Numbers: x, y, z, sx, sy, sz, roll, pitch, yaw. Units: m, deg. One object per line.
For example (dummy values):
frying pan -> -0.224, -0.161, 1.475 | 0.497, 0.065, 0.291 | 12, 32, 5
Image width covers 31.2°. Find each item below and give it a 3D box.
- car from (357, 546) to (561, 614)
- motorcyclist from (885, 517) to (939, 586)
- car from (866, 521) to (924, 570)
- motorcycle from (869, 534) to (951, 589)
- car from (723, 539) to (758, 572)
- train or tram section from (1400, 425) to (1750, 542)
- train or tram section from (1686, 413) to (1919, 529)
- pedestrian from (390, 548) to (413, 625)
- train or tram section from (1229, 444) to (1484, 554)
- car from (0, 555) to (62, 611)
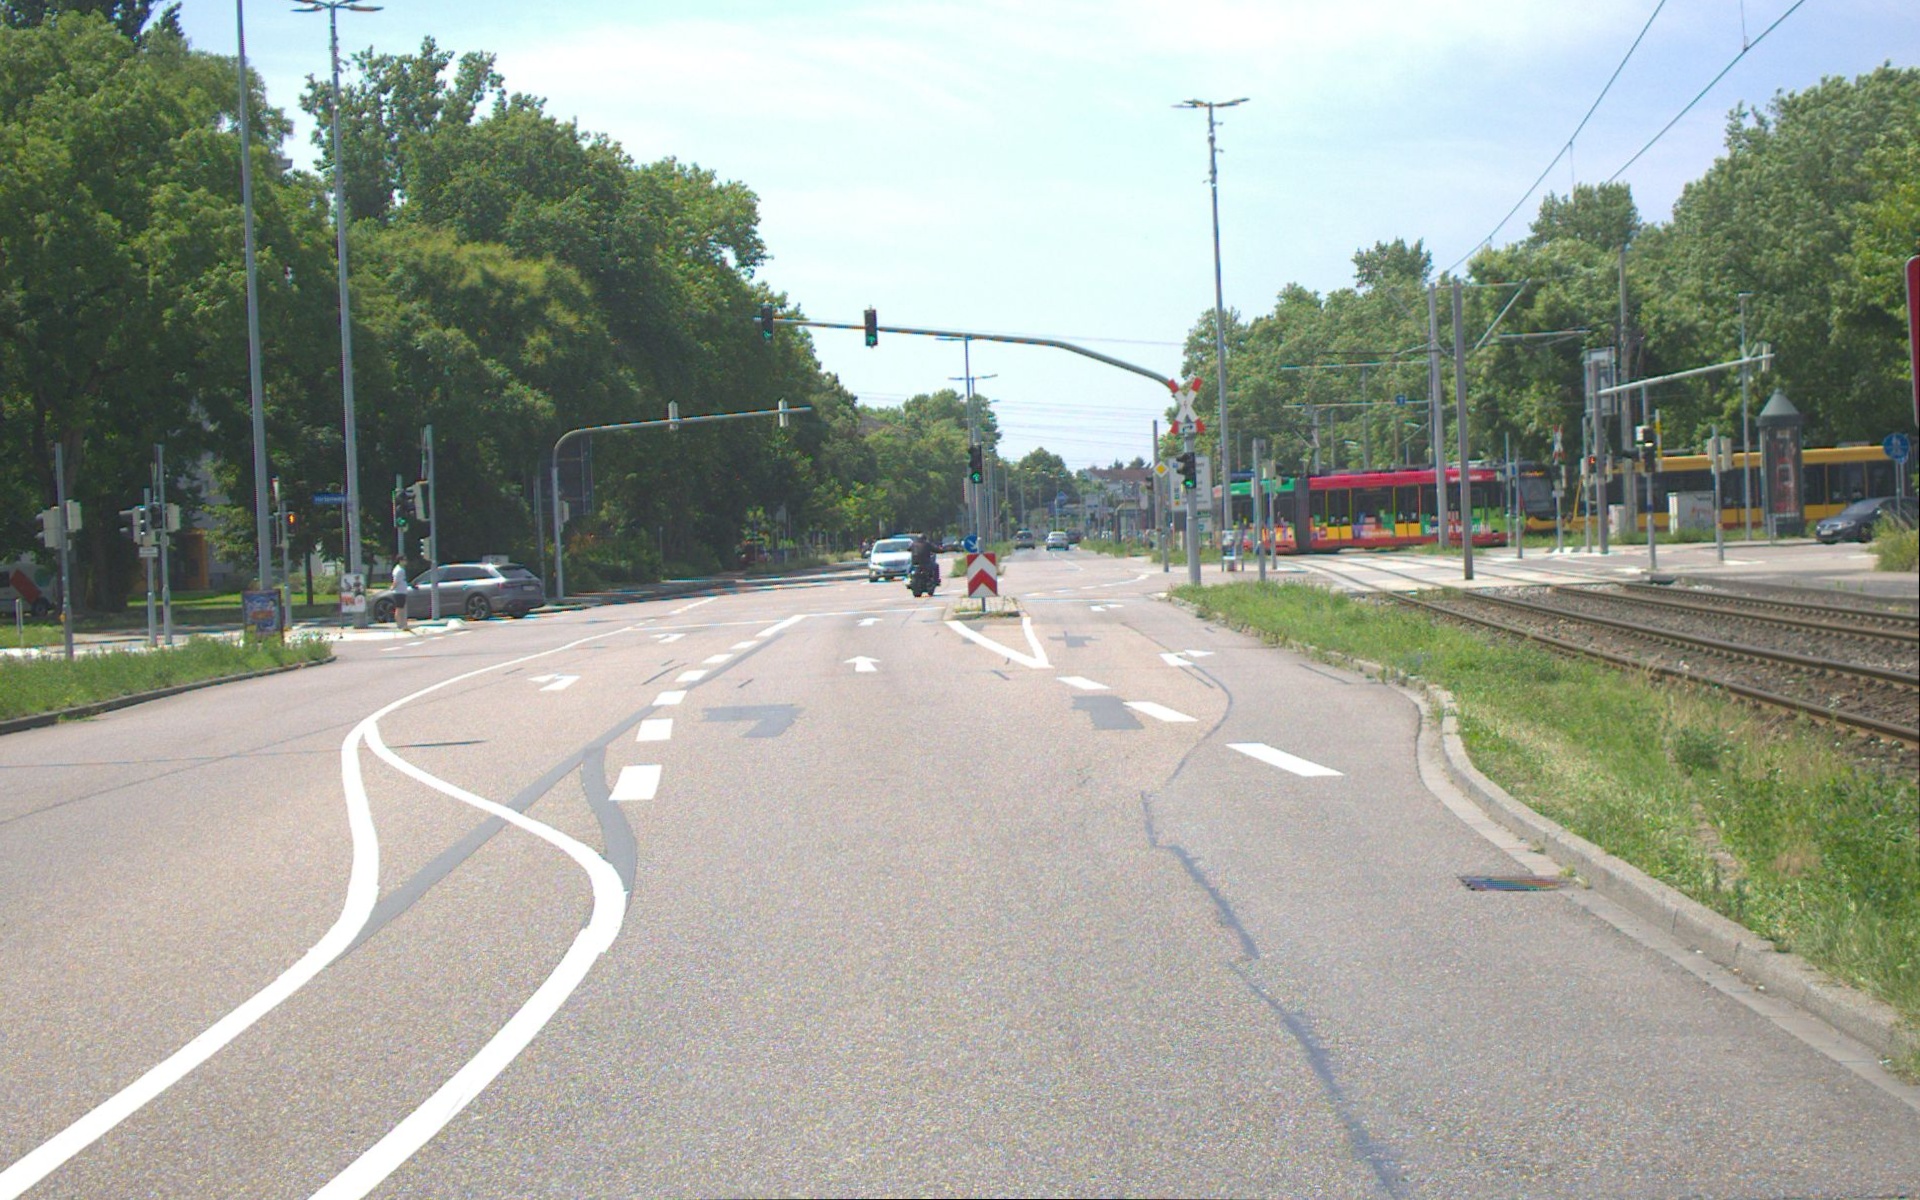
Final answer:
car -> -12.426, -0.499, 85.252 | 4.620, 1.493, 1.911 | -2, 1, 23
motorcyclist -> -1.157, -1.182, 83.115 | 0.791, 1.637, 1.209 | -1, 1, 28
car -> -2.269, -1.922, 120.550 | 1.784, 1.623, 3.865 | -2, 1, 2
motorcycle -> -1.194, -0.937, 83.021 | 0.848, 1.251, 2.445 | -1, 1, 29
car -> -13.463, -2.733, 211.472 | 1.993, 2.007, 4.000 | 1, 1, -2
train or tram section -> 24.287, -4.547, 136.458 | 13.435, 3.799, 2.918 | -2, -2, 32
train or tram section -> 35.041, -4.994, 131.011 | 14.013, 3.906, 2.920 | -2, -2, 23
pedestrian -> -12.324, -0.307, 75.884 | 0.382, 1.681, 0.486 | -2, 1, -2
train or tram section -> 16.501, -4.140, 144.456 | 2.914, 3.799, 13.072 | 0, -2, -33
car -> -32.149, -0.498, 113.562 | 1.790, 1.762, 4.538 | -2, 1, 41
